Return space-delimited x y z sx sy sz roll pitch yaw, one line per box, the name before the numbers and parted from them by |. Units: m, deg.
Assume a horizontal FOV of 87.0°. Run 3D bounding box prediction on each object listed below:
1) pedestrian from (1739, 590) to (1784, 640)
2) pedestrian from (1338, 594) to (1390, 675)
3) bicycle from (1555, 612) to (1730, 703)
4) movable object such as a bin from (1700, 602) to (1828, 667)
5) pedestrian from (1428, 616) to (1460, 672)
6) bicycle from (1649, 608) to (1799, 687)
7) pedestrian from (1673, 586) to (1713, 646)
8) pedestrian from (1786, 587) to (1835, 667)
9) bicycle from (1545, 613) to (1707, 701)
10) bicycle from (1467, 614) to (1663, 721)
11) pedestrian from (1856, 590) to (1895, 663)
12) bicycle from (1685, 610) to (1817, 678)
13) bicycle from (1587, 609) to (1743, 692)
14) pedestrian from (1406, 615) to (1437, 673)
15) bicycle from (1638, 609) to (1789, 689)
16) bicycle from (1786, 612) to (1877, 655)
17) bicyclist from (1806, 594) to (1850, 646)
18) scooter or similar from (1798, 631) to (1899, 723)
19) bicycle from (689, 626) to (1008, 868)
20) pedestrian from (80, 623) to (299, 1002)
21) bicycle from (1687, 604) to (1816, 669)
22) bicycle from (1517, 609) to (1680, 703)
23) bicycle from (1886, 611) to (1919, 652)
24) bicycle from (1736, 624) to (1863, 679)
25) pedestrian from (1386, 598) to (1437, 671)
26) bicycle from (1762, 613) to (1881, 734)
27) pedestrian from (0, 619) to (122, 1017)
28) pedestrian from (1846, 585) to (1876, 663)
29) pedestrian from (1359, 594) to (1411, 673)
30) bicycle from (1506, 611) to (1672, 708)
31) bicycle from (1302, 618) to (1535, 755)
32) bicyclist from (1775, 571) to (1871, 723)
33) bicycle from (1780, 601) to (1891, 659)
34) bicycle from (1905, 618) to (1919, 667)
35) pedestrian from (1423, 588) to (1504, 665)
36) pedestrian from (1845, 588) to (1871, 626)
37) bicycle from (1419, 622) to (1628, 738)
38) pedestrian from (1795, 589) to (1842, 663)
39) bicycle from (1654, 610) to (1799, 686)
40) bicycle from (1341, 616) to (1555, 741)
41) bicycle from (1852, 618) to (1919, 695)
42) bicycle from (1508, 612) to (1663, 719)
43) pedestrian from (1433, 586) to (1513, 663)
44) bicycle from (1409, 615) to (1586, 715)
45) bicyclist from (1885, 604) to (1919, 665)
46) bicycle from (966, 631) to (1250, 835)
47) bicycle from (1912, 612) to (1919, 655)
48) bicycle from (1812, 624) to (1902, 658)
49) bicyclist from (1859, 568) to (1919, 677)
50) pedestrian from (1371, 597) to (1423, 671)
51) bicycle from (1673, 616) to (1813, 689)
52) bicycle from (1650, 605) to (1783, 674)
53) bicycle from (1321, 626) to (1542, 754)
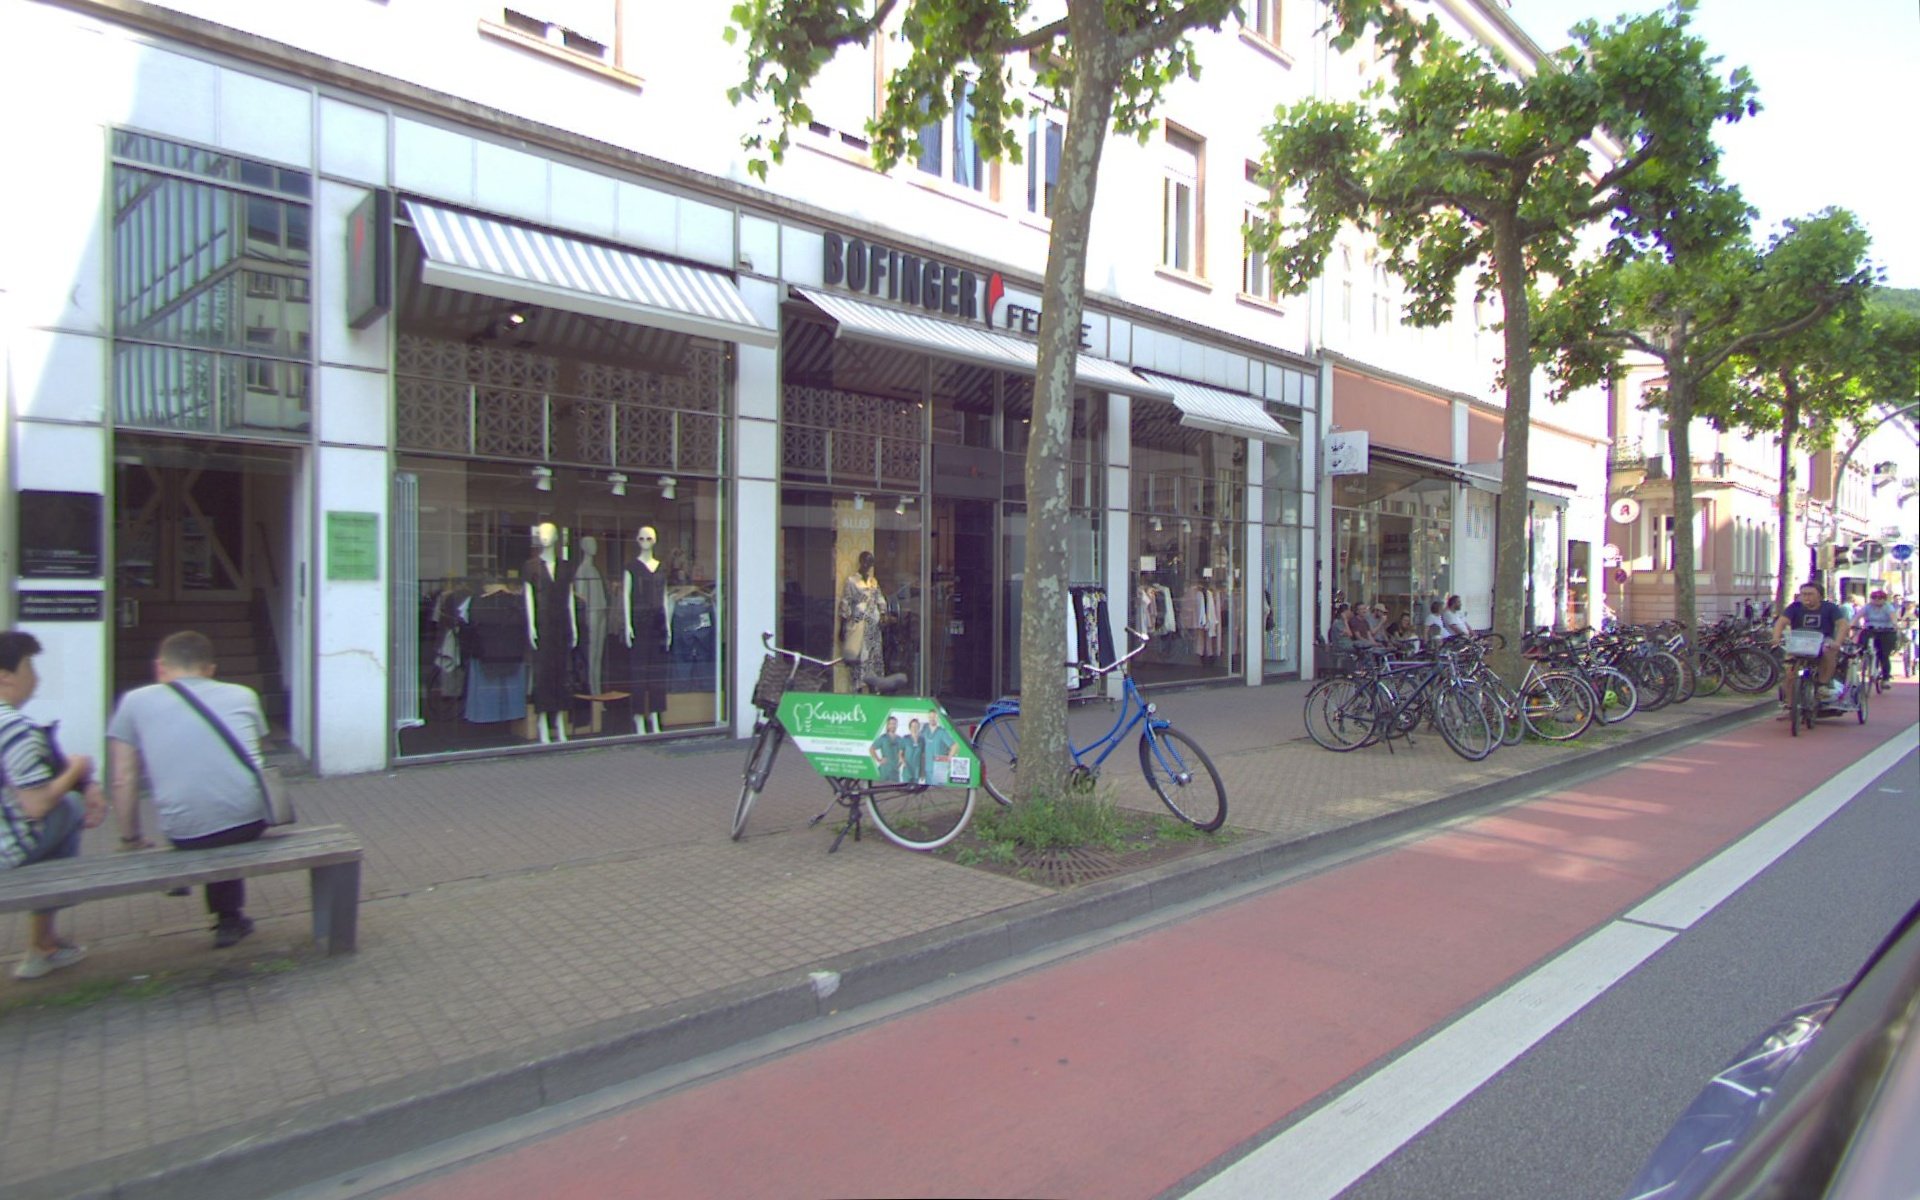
pedestrian | 27.775 0.504 35.090 0.892 1.630 0.970 1 4 21
pedestrian | 6.953 0.580 17.425 0.523 1.349 0.682 1 0 -43
bicycle | 9.836 0.788 14.677 0.746 1.141 1.995 -1 2 -28
movable object such as a bin | 15.857 0.669 20.015 0.639 1.204 1.859 0 -1 -25
pedestrian | 8.584 0.773 17.957 0.429 0.980 0.365 0 0 -39
bicycle | 12.360 0.735 16.427 0.654 1.141 1.844 -1 1 -38
pedestrian | 21.124 0.470 29.166 0.774 1.679 0.642 3 -2 -28
pedestrian | 19.752 0.618 23.497 0.630 1.818 0.788 1 -1 -43
bicycle | 9.300 0.761 14.224 0.519 1.141 1.848 -1 -1 -28
bicycle | 6.890 0.744 11.608 1.818 1.141 0.591 0 1 14
pedestrian | 22.954 0.647 25.379 0.777 1.730 0.640 -3 4 -44
bicycle | 14.714 0.794 18.873 0.654 1.141 1.844 -1 1 -38
bicycle | 10.667 0.734 15.368 0.667 1.141 1.844 -1 1 -38
pedestrian | 8.027 0.761 17.603 0.429 0.980 0.342 0 0 -39
bicycle | 11.853 0.742 15.971 0.520 1.141 1.844 -1 2 -38
bicycle | 24.672 0.926 28.680 0.654 1.141 1.845 -1 0 -36
bicyclist | 24.553 0.560 28.615 0.492 1.429 0.861 0 1 -40
scooter or similar | 11.305 0.947 12.875 1.106 1.074 0.785 0 -1 -40
bicycle | -0.649 0.767 5.788 1.760 1.212 0.573 0 0 23
pedestrian | -2.934 0.727 3.849 0.587 1.248 0.639 -1 0 -43
bicycle | 15.228 0.678 19.519 0.654 1.141 1.847 -1 1 -33
bicycle | 8.644 0.725 13.781 0.440 1.141 1.845 -1 2 -37
bicycle | 27.855 0.921 29.800 0.745 1.132 1.891 -1 0 39
bicycle | 17.011 1.057 20.536 1.018 0.395 1.854 -44 19 -33
pedestrian | 8.261 0.612 18.525 0.598 1.268 0.640 -1 3 -43
bicycle | 10.129 0.810 11.864 2.242 1.285 0.733 2 -2 -41
pedestrian | -3.347 0.711 3.553 0.566 1.258 0.788 -1 0 -43
pedestrian | 21.131 0.557 23.742 0.597 1.818 0.452 1 -2 -43
pedestrian | 7.445 0.571 17.751 0.523 1.355 0.682 1 0 -43
bicycle | 8.317 0.754 13.469 0.440 1.141 1.845 -1 2 -37
bicycle | 4.203 0.759 9.358 1.836 1.141 0.623 -2 -1 39
bicyclist | 10.086 0.509 11.829 0.761 1.694 0.732 0 1 -41
bicycle | 19.138 0.674 22.178 0.702 1.204 1.857 1 -3 -3
bicycle | 25.217 1.104 26.379 1.827 1.140 0.607 -3 4 -40
pedestrian | 9.896 0.497 19.908 0.777 1.440 1.234 -1 2 -43
pedestrian | 43.842 0.346 49.404 0.754 1.813 0.840 0 1 -40
bicycle | 5.905 0.793 10.711 0.554 1.107 1.843 0 -1 -40
pedestrian | 20.420 0.609 24.063 0.630 1.712 0.788 1 0 -43
bicycle | 12.879 0.772 17.051 0.654 1.141 1.844 -1 1 -38
bicycle | 4.965 0.768 10.347 1.835 1.141 0.755 -2 0 37
bicycle | 15.371 0.897 16.637 1.997 1.141 0.737 -1 0 -39
bicycle | 7.574 0.748 12.367 0.439 1.141 1.850 -1 1 -13
pedestrian | 10.431 0.469 20.588 0.823 1.502 1.253 0 0 -43
bicycle | 6.447 0.759 12.216 1.818 1.141 0.446 0 1 13
bicyclist | 27.797 0.995 29.652 0.830 1.738 0.910 0 1 -40
bicycle | 0.889 0.779 6.500 1.838 1.141 0.490 -2 -3 42
bicycle | 26.773 0.919 27.788 1.956 1.132 0.663 0 1 -40
bicycle | 24.994 1.125 28.219 0.492 0.855 1.825 0 0 -39
bicyclist | 15.356 0.364 16.649 0.829 1.739 0.684 0 -1 -39
pedestrian | 7.829 0.594 18.126 0.523 1.269 0.682 1 1 -43
bicycle | 13.665 0.888 17.716 0.632 1.141 1.844 -1 1 -38
bicycle | 13.788 0.692 18.492 0.654 1.141 1.844 -1 1 -38
bicycle | 4.507 0.818 9.758 1.836 1.107 0.556 -1 -1 39
